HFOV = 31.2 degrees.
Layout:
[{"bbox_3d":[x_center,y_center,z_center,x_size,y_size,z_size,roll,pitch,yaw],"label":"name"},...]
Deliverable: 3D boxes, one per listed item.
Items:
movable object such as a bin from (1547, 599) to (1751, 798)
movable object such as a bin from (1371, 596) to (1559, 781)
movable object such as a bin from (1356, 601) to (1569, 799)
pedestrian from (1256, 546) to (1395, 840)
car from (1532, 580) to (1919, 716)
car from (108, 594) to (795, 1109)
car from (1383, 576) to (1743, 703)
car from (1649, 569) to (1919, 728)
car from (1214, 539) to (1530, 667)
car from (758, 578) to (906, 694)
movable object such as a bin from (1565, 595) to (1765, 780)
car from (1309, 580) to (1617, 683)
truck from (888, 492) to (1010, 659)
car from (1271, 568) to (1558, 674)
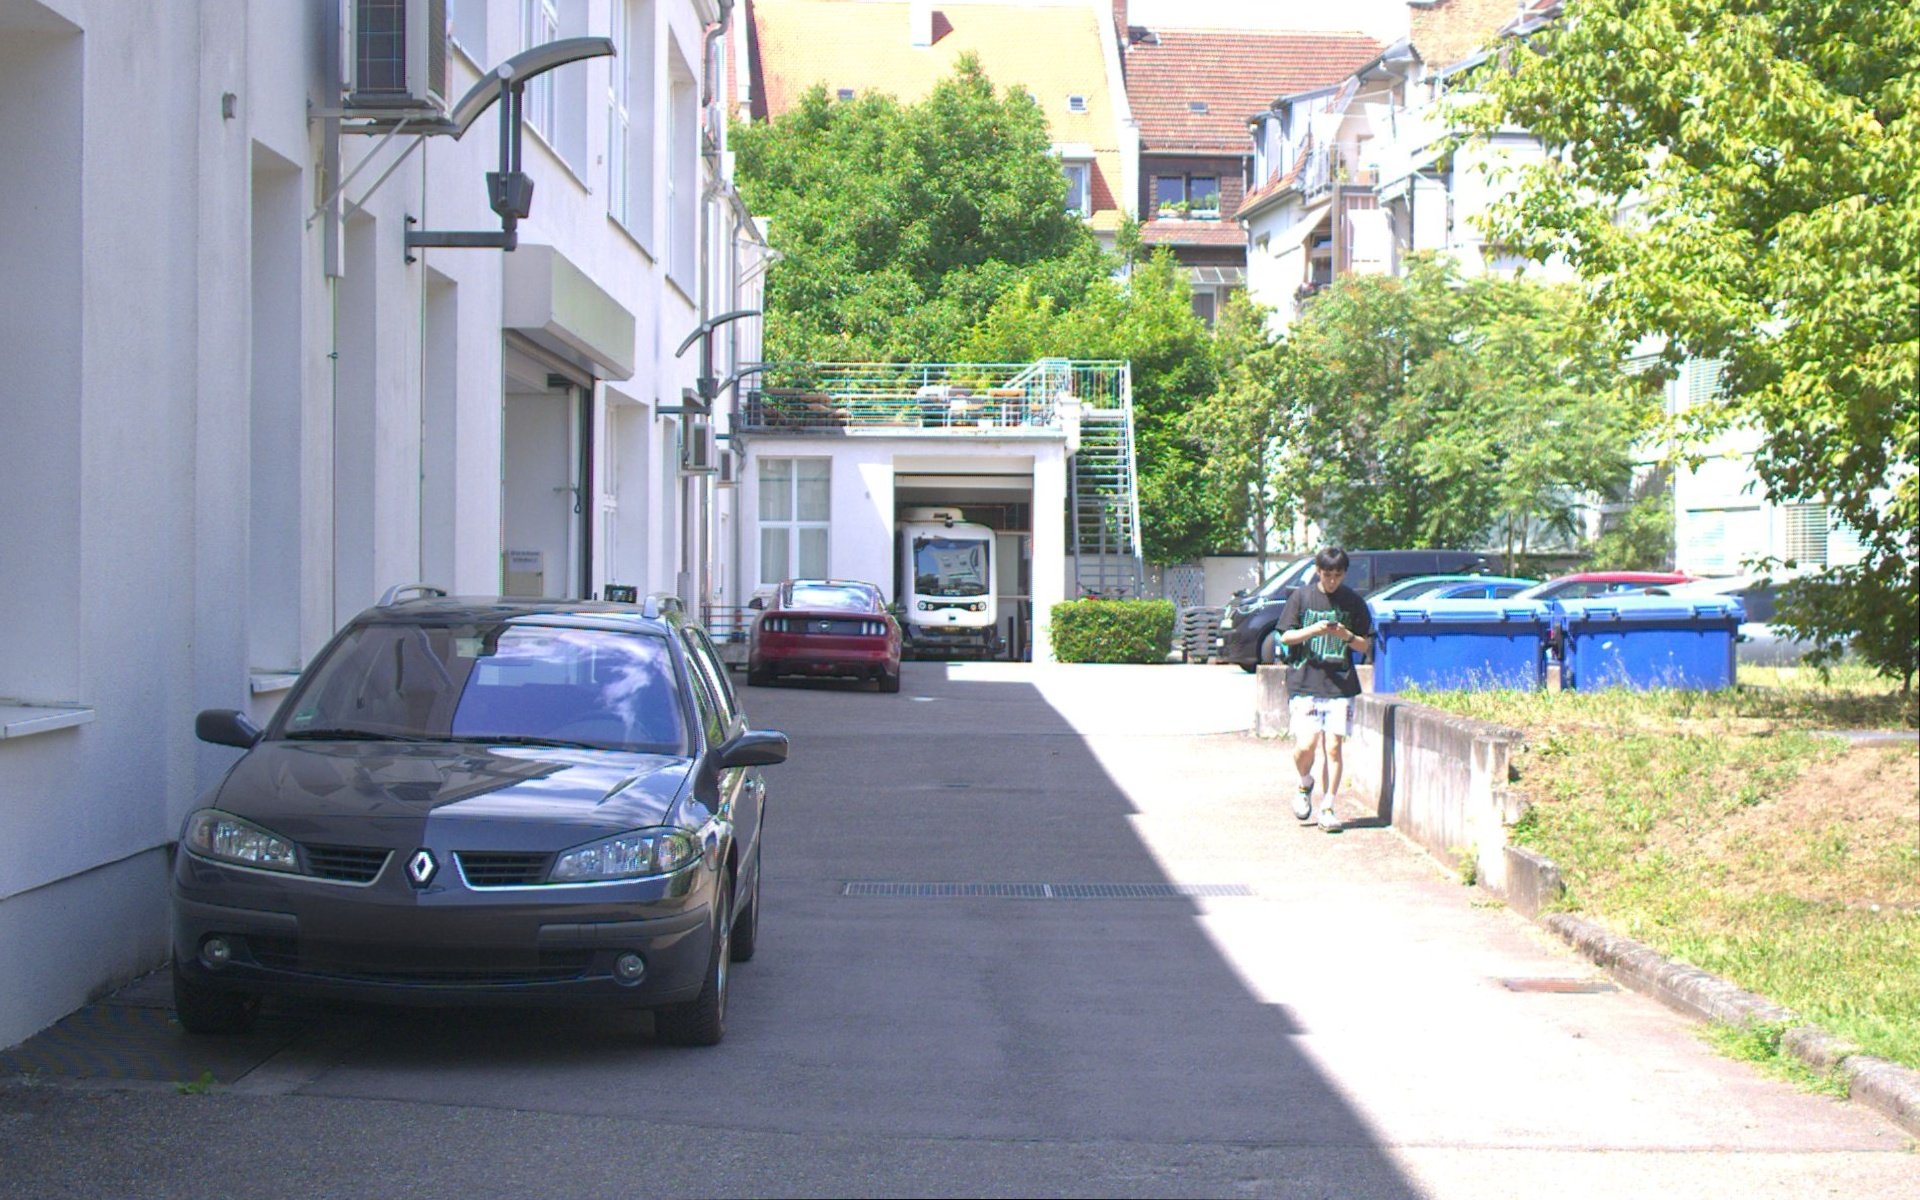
[{"bbox_3d":[4.756,0.666,23.820,1.216,1.322,1.160,0,1,2],"label":"movable object such as a bin"},{"bbox_3d":[3.735,0.640,25.545,1.192,1.322,1.160,0,1,-2],"label":"movable object such as a bin"},{"bbox_3d":[3.459,0.677,23.800,1.339,1.322,1.160,0,1,2],"label":"movable object such as a bin"},{"bbox_3d":[2.216,0.552,20.909,0.757,1.749,0.751,1,1,1],"label":"pedestrian"},{"bbox_3d":[8.248,0.496,36.569,3.986,1.385,1.805,0,1,-2],"label":"car"},{"bbox_3d":[-1.603,0.736,12.302,1.754,1.425,4.386,0,1,1],"label":"car"},{"bbox_3d":[7.208,0.454,41.359,3.986,1.473,1.805,0,1,-2],"label":"car"},{"bbox_3d":[8.812,0.444,33.053,3.986,1.473,1.805,0,1,-2],"label":"car"},{"bbox_3d":[6.431,0.029,54.018,4.677,1.951,2.077,0,1,-2],"label":"car"},{"bbox_3d":[-1.605,0.426,44.055,1.798,1.385,4.000,0,1,-1],"label":"car"},{"bbox_3d":[5.215,0.630,25.505,1.216,1.322,1.160,0,1,-2],"label":"movable object such as a bin"},{"bbox_3d":[6.986,0.424,48.001,3.986,1.385,1.805,0,1,-2],"label":"car"},{"bbox_3d":[-0.244,-0.452,63.029,1.788,2.927,4.654,0,0,-6],"label":"truck"},{"bbox_3d":[6.705,0.294,50.980,3.986,1.529,1.805,0,1,-2],"label":"car"}]
